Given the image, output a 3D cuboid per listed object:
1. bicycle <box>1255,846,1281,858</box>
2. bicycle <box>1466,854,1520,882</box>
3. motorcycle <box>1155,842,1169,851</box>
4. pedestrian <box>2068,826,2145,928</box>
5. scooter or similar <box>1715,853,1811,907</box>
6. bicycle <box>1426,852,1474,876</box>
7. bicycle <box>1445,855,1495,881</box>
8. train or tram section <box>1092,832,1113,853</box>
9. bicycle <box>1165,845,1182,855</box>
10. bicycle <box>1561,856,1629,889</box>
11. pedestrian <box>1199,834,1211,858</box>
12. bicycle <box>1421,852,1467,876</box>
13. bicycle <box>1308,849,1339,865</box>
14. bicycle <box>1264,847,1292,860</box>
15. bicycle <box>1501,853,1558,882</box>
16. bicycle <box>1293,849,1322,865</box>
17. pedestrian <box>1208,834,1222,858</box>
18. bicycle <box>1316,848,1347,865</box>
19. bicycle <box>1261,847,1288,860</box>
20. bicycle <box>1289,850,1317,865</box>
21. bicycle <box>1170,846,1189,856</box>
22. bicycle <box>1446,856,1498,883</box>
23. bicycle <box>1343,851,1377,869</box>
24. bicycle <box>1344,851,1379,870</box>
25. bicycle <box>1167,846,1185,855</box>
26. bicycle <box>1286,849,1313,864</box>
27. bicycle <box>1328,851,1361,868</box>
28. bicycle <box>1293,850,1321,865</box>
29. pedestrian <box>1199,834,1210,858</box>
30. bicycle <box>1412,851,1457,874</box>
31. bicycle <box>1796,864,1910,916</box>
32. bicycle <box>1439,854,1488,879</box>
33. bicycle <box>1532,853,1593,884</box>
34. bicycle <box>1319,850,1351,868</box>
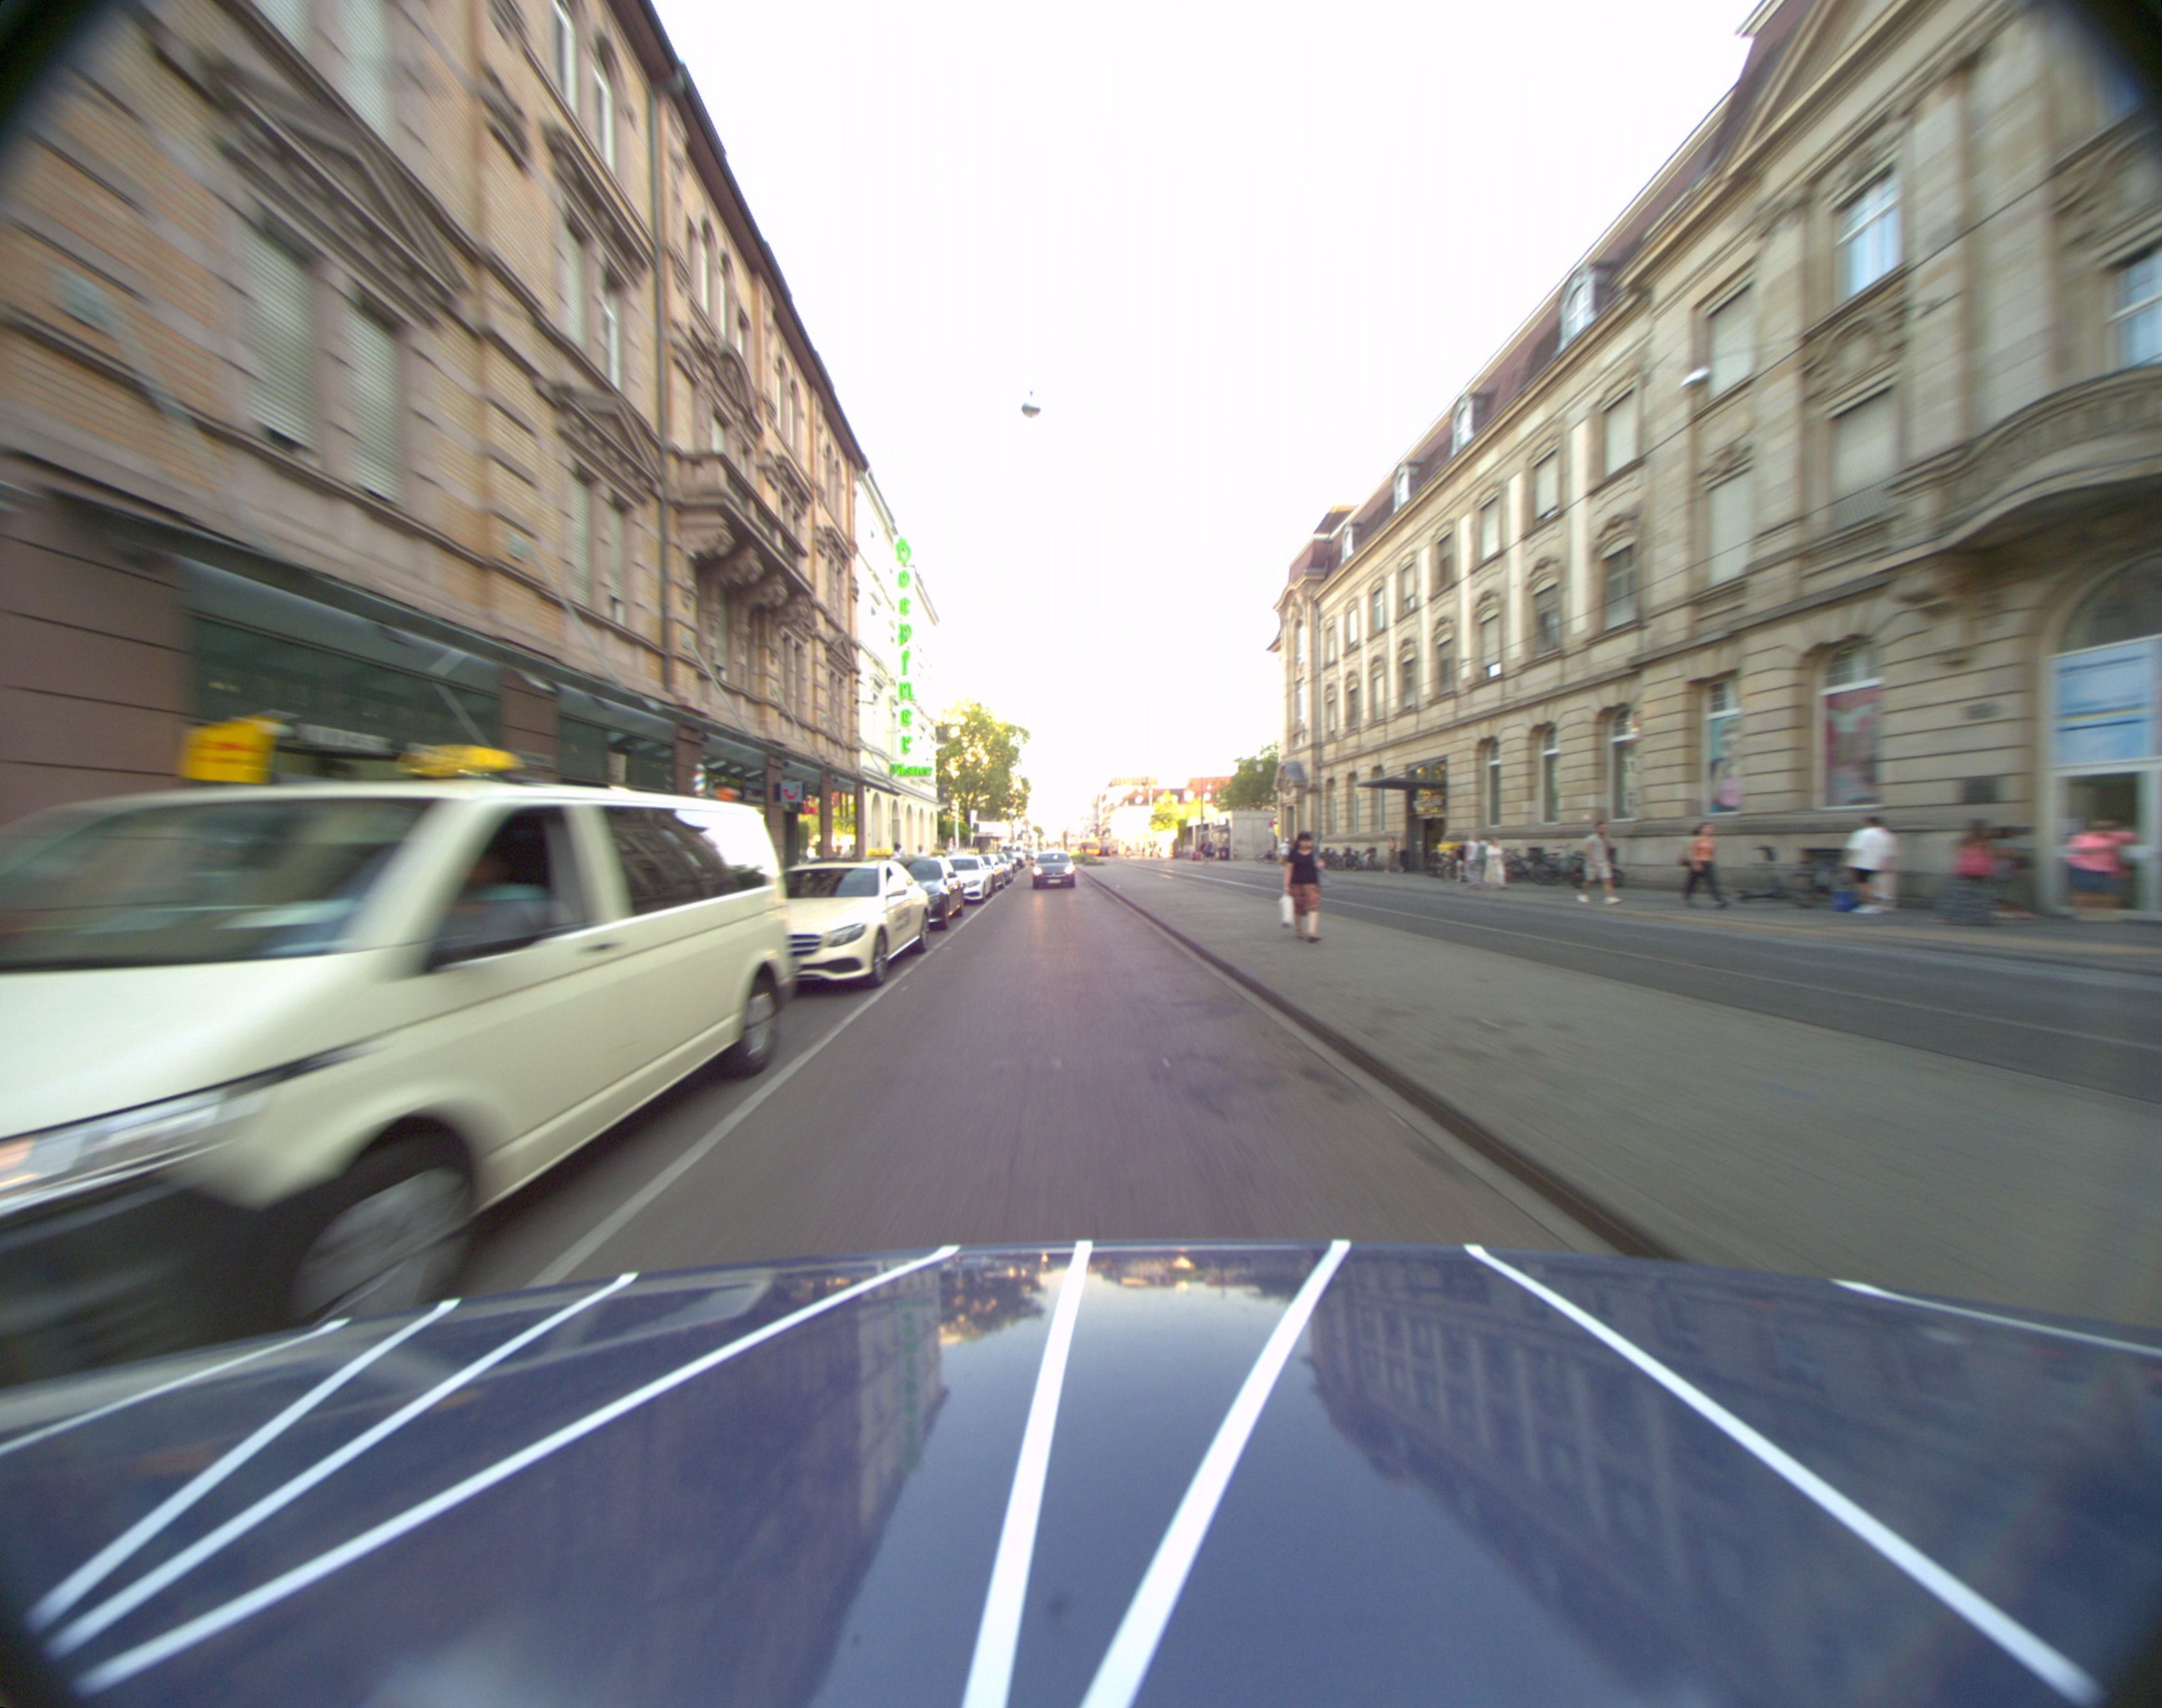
[{"bbox_3d":[14.675,-0.193,59.730,1.840,0.863,0.634,-2,2,-4],"label":"bicycle"},{"bbox_3d":[14.171,0.478,26.153,1.579,0.869,0.451,-2,2,2],"label":"bicycle"},{"bbox_3d":[11.405,-1.050,106.922,1.782,1.230,0.804,-3,2,-36],"label":"motorcycle"},{"bbox_3d":[15.472,0.331,11.474,0.542,1.482,0.593,-3,2,-26],"label":"pedestrian"},{"bbox_3d":[14.230,0.536,15.875,1.551,1.062,0.451,-2,2,2],"label":"scooter or similar"},{"bbox_3d":[14.265,0.379,29.389,1.579,0.869,0.451,-2,2,2],"label":"bicycle"},{"bbox_3d":[14.158,0.503,27.655,1.579,0.869,0.451,-2,2,2],"label":"bicycle"},{"bbox_3d":[3.922,-2.175,141.358,2.903,3.665,13.476,-1,1,-2],"label":"train or tram section"},{"bbox_3d":[11.655,-0.485,95.842,2.132,1.153,0.692,-1,1,-1],"label":"bicycle"},{"bbox_3d":[14.552,0.524,21.517,1.579,0.869,0.451,-2,2,2],"label":"bicycle"},{"bbox_3d":[9.140,-0.581,56.053,0.650,1.726,0.594,0,1,-11],"label":"pedestrian"},{"bbox_3d":[14.307,0.381,29.976,1.579,0.869,0.451,-2,2,2],"label":"bicycle"},{"bbox_3d":[13.704,0.158,42.960,1.579,0.869,0.451,-2,2,2],"label":"bicycle"},{"bbox_3d":[14.764,-0.030,56.958,1.840,0.863,0.634,-2,2,-4],"label":"bicycle"},{"bbox_3d":[14.713,0.430,24.919,1.579,0.869,0.451,-2,2,2],"label":"bicycle"},{"bbox_3d":[13.474,0.165,45.169,1.579,0.869,0.451,-2,2,2],"label":"bicycle"},{"bbox_3d":[9.767,-0.569,55.271,0.678,1.726,0.678,0,1,-37],"label":"pedestrian"},{"bbox_3d":[13.911,0.157,42.186,1.579,0.869,0.451,-2,2,2],"label":"bicycle"},{"bbox_3d":[14.667,-0.045,57.677,1.840,0.863,0.634,-2,2,-4],"label":"bicycle"},{"bbox_3d":[13.715,0.192,47.031,1.579,0.869,0.451,-2,2,2],"label":"bicycle"},{"bbox_3d":[11.978,-0.412,92.498,2.132,1.153,0.692,-1,1,-1],"label":"bicycle"},{"bbox_3d":[13.842,0.535,26.881,1.579,0.869,0.451,-2,2,2],"label":"bicycle"},{"bbox_3d":[14.297,0.293,38.943,1.579,0.869,0.451,-2,2,2],"label":"bicycle"},{"bbox_3d":[14.117,0.318,38.218,1.579,0.869,0.451,-2,2,2],"label":"bicycle"},{"bbox_3d":[11.857,-0.454,94.481,2.132,1.153,0.692,-1,1,-1],"label":"bicycle"},{"bbox_3d":[13.663,0.181,47.568,1.579,0.869,0.451,-2,2,2],"label":"bicycle"},{"bbox_3d":[13.807,0.288,39.836,1.579,0.869,0.451,-2,2,2],"label":"bicycle"},{"bbox_3d":[13.723,0.215,46.111,1.579,0.869,0.451,-2,2,2],"label":"bicycle"},{"bbox_3d":[8.971,-0.614,55.135,0.678,1.726,0.483,1,1,32],"label":"pedestrian"},{"bbox_3d":[14.250,0.348,30.620,1.579,0.869,0.451,-2,2,2],"label":"bicycle"},{"bbox_3d":[14.086,0.659,13.882,1.579,0.869,0.451,-2,2,2],"label":"bicycle"},{"bbox_3d":[14.241,0.473,28.294,1.579,0.869,0.451,-2,2,2],"label":"bicycle"},{"bbox_3d":[14.821,0.436,23.399,1.579,0.869,0.451,-2,2,2],"label":"bicycle"},{"bbox_3d":[13.642,0.269,40.824,1.579,0.869,0.451,-2,2,2],"label":"bicycle"}]
